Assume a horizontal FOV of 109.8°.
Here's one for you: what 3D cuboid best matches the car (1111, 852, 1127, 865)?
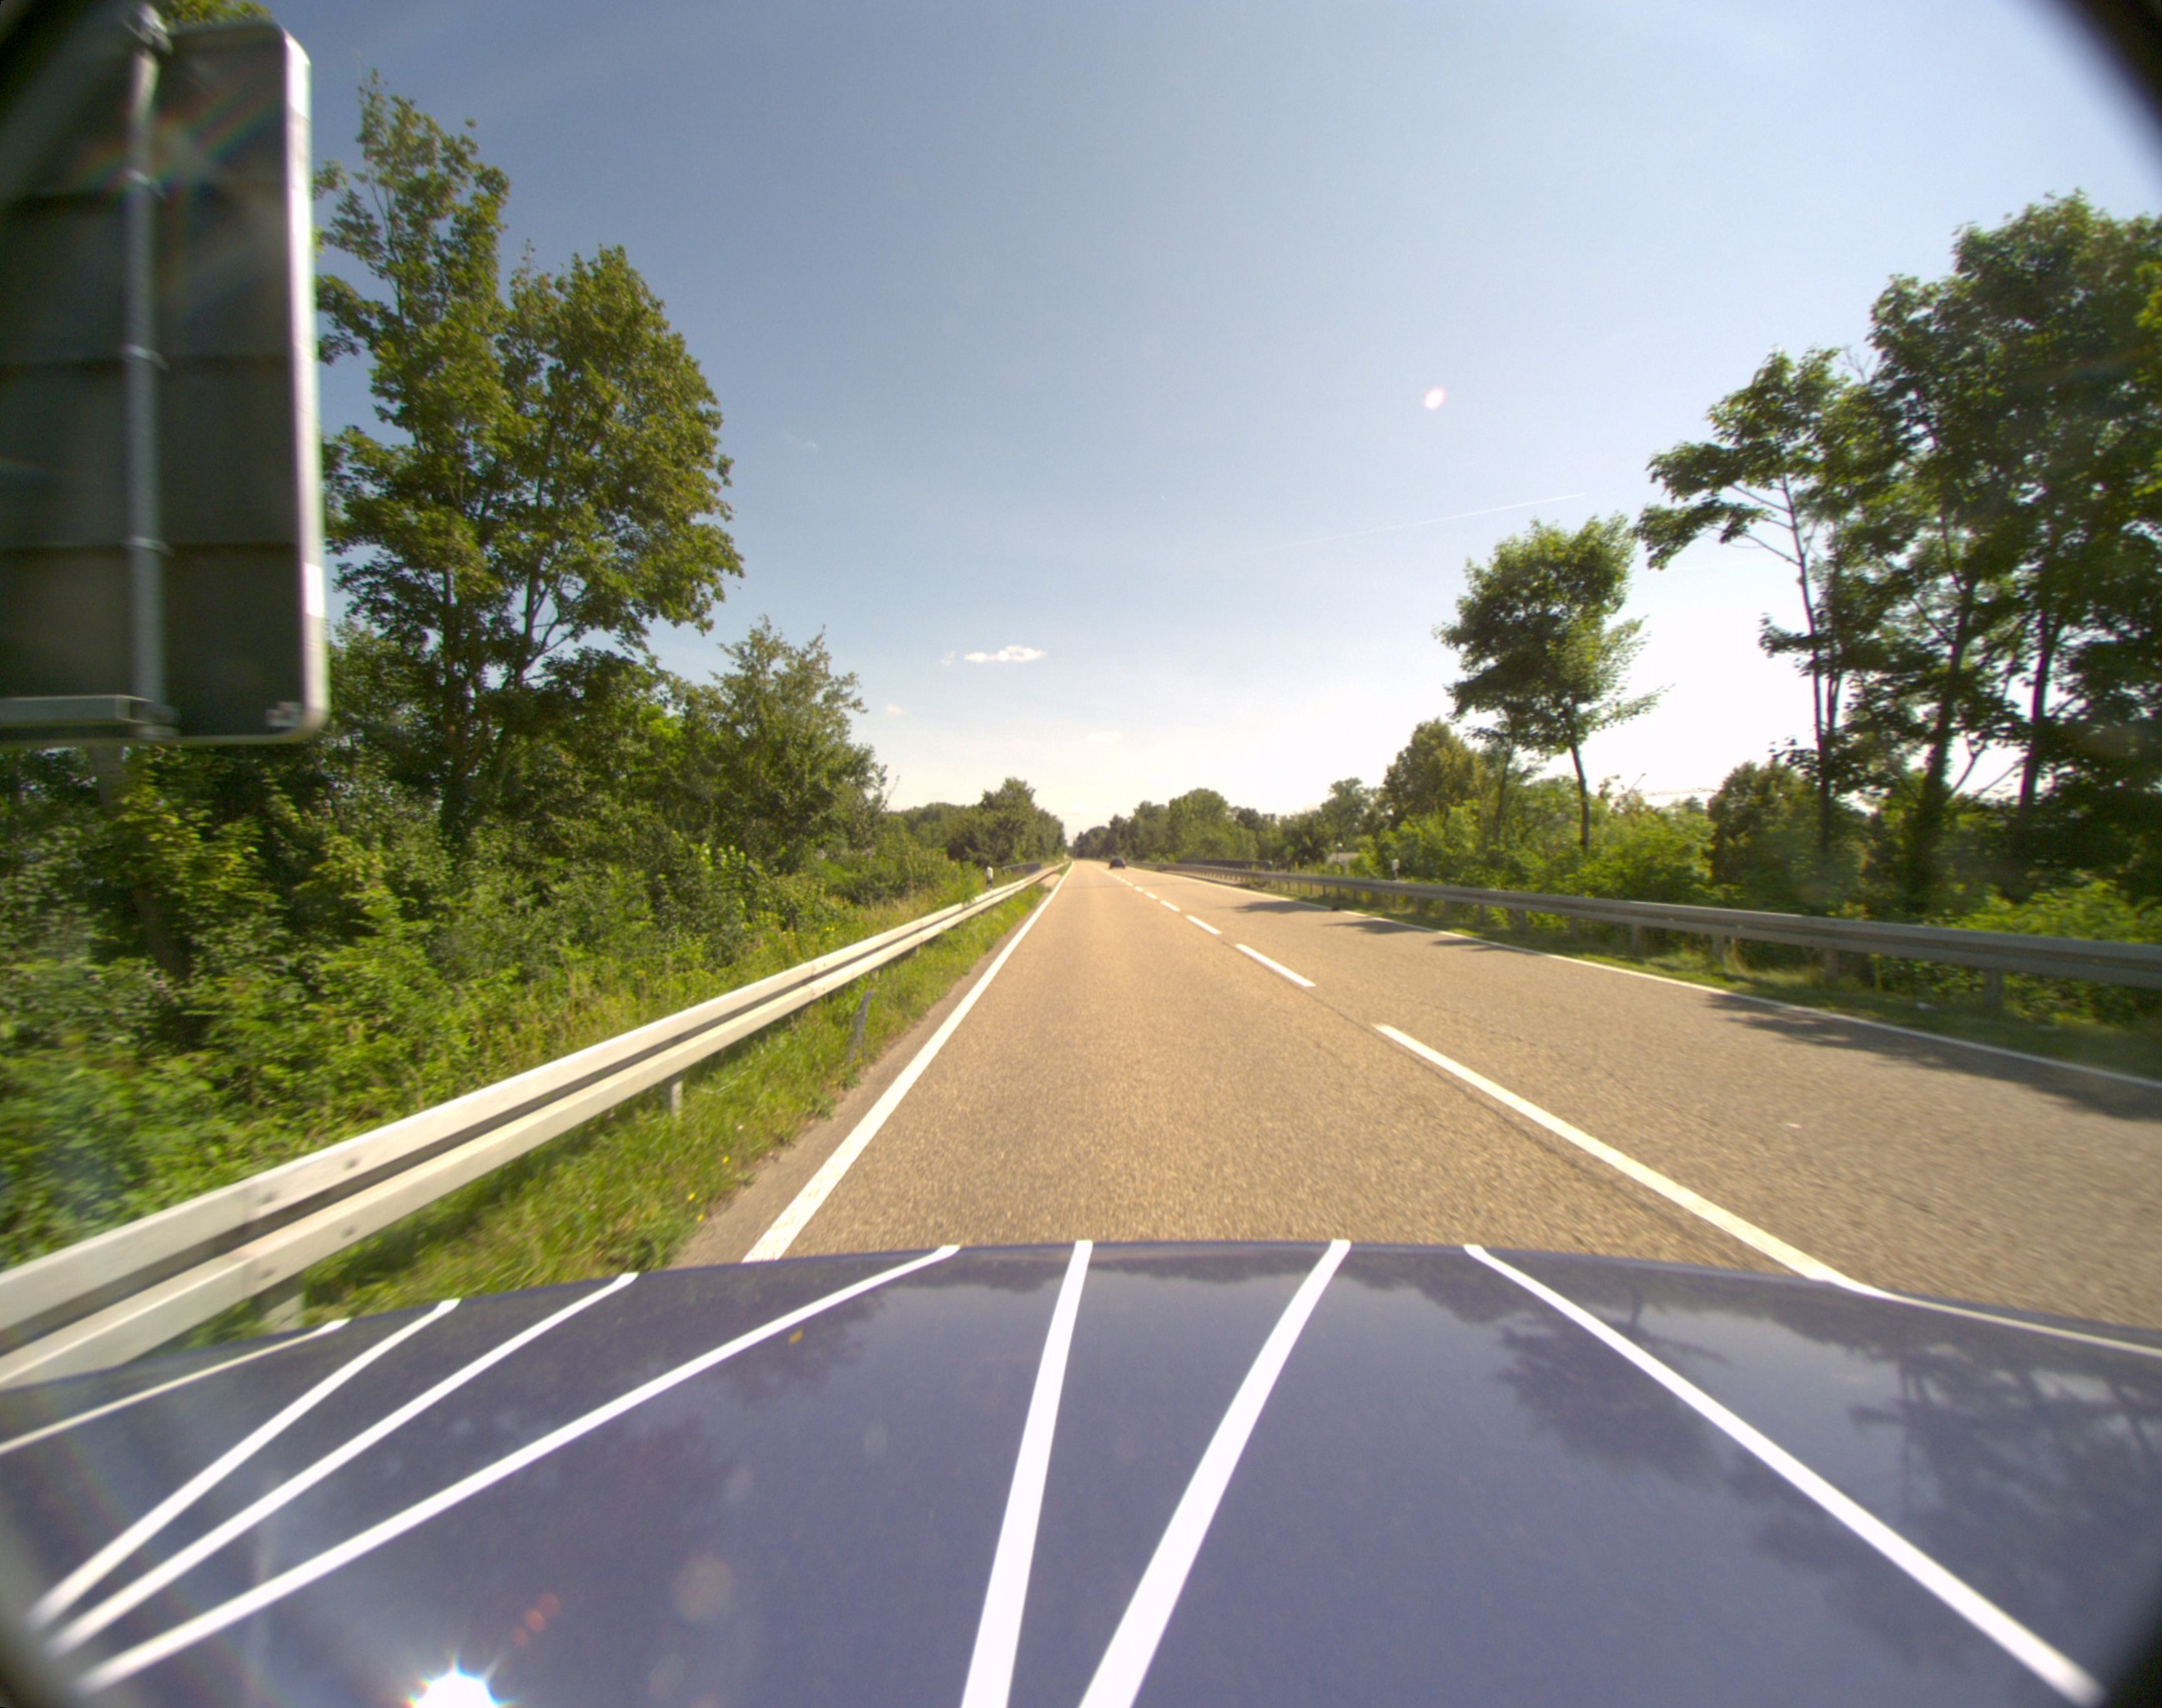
[{"bbox_3d":[4.553,0.498,92.278,1.750,1.416,4.677,-1,0,0],"label":"car"}]
